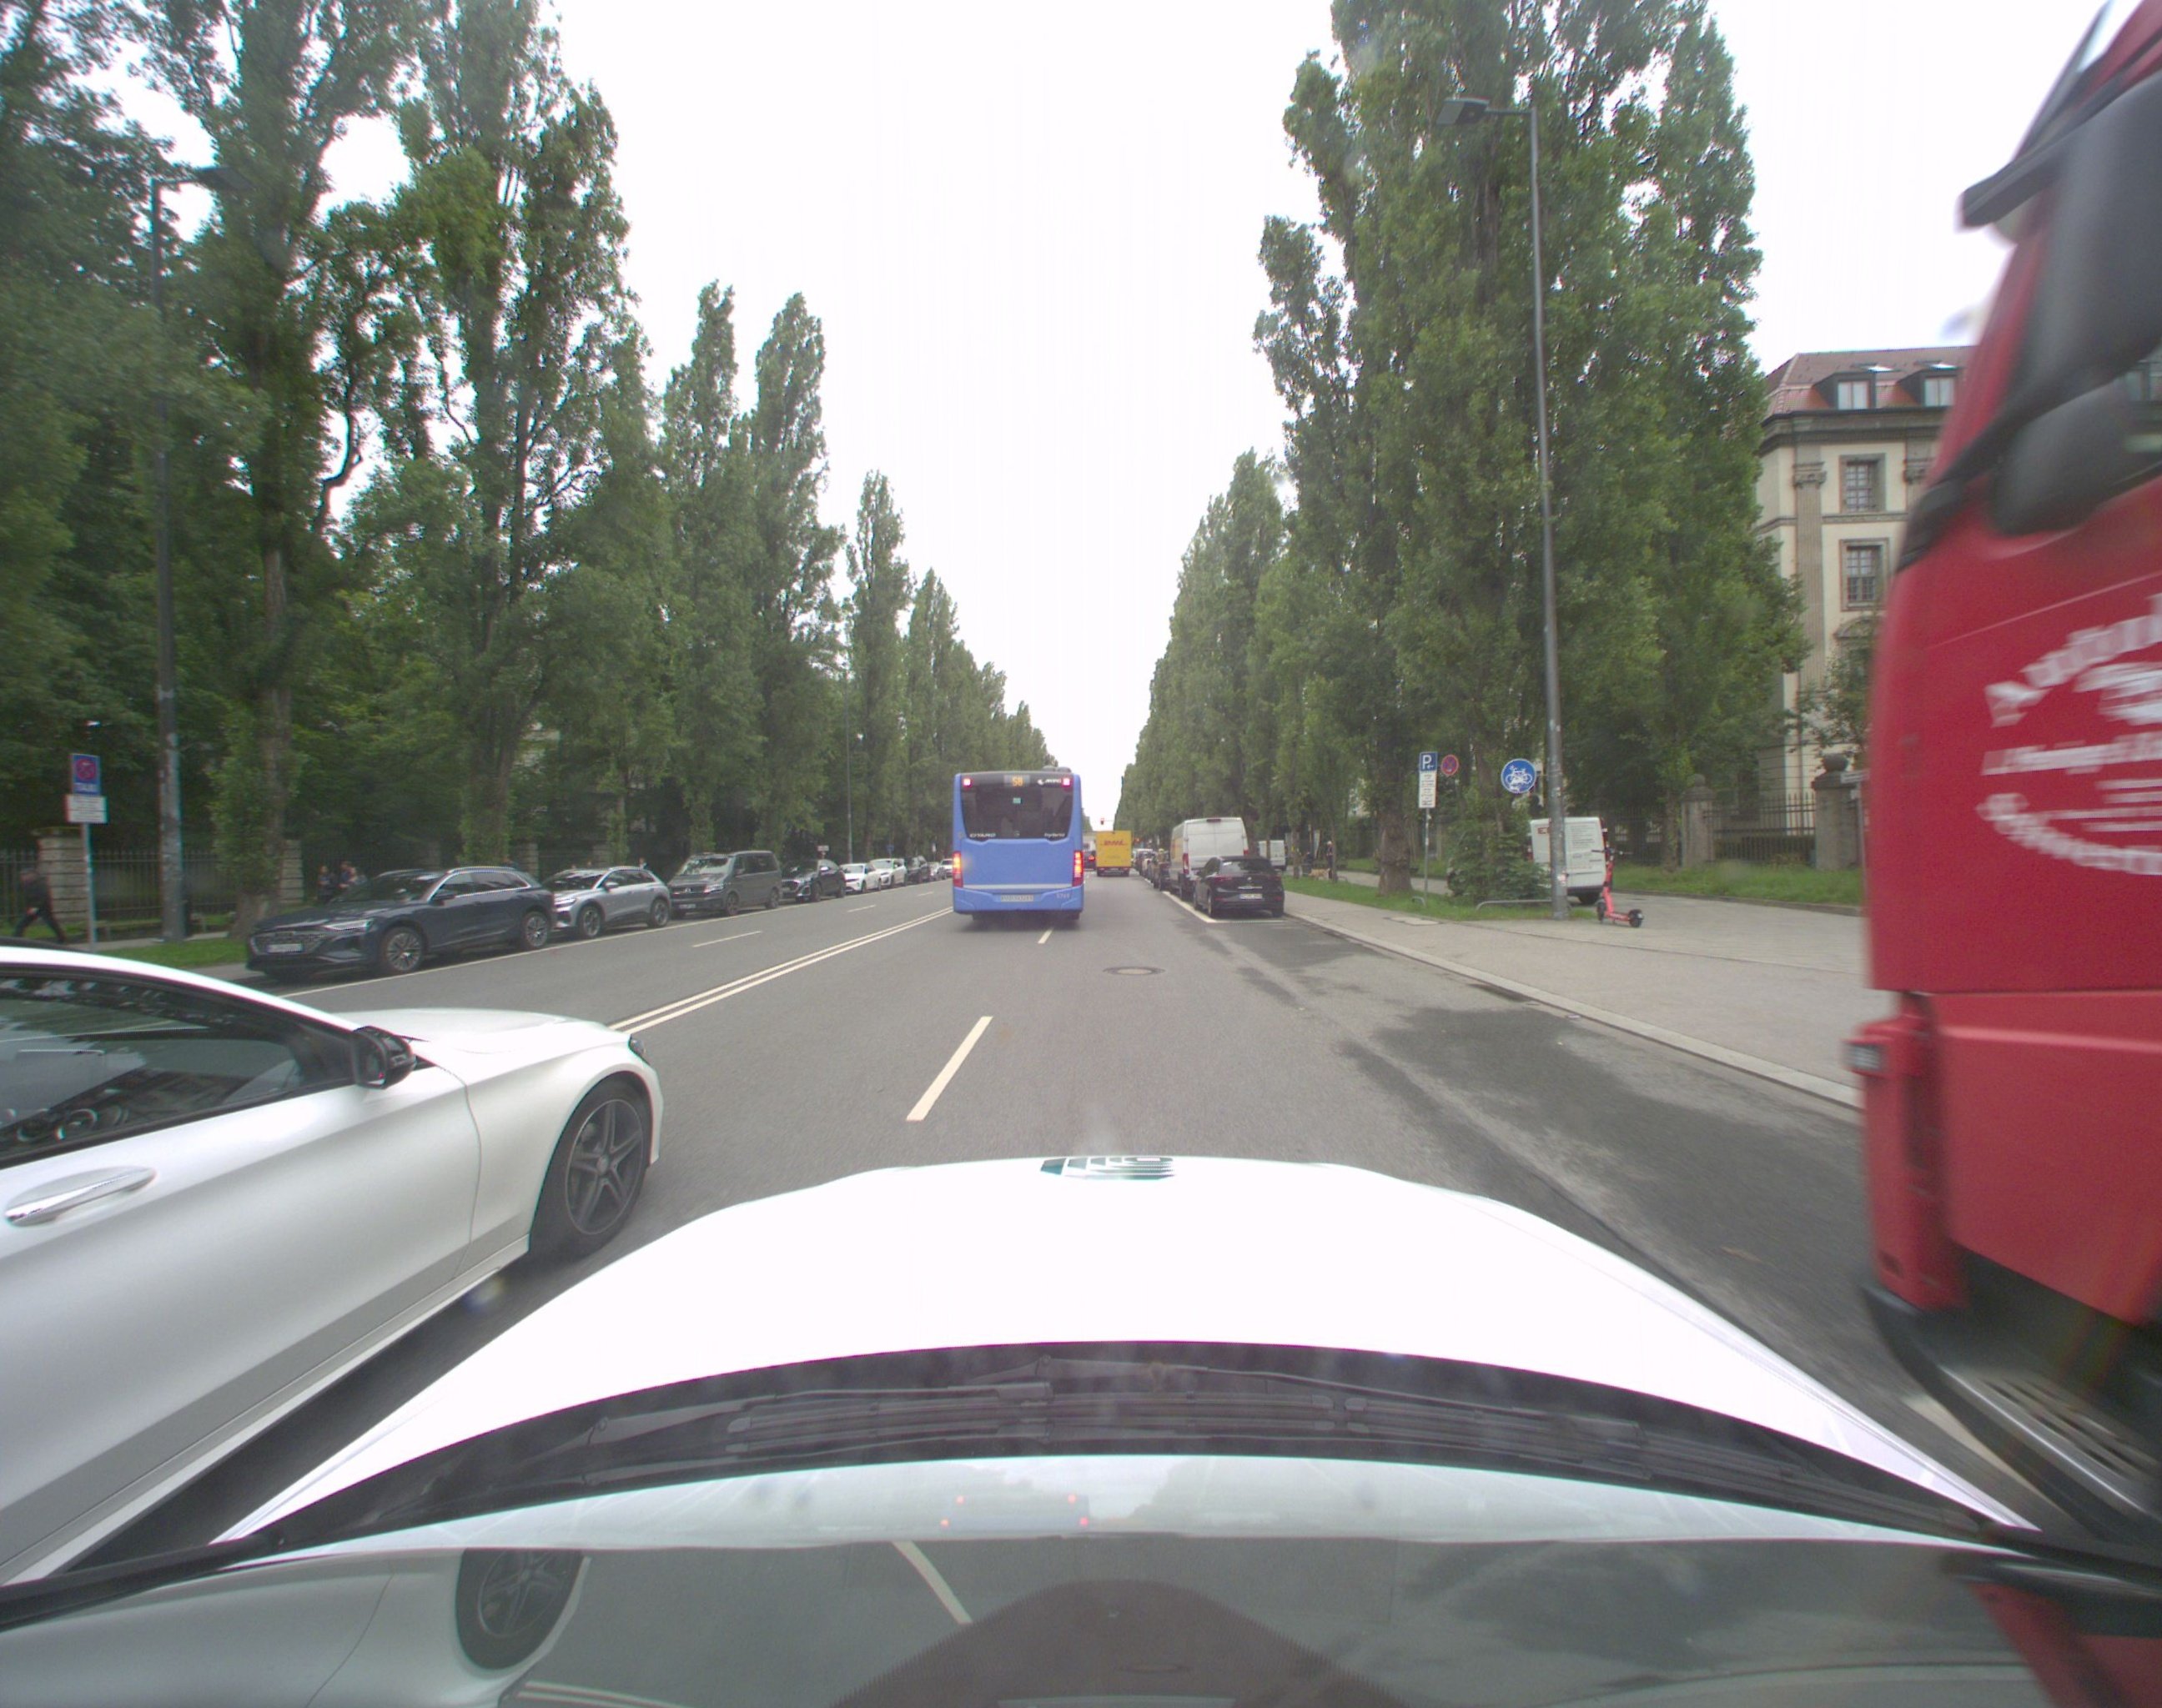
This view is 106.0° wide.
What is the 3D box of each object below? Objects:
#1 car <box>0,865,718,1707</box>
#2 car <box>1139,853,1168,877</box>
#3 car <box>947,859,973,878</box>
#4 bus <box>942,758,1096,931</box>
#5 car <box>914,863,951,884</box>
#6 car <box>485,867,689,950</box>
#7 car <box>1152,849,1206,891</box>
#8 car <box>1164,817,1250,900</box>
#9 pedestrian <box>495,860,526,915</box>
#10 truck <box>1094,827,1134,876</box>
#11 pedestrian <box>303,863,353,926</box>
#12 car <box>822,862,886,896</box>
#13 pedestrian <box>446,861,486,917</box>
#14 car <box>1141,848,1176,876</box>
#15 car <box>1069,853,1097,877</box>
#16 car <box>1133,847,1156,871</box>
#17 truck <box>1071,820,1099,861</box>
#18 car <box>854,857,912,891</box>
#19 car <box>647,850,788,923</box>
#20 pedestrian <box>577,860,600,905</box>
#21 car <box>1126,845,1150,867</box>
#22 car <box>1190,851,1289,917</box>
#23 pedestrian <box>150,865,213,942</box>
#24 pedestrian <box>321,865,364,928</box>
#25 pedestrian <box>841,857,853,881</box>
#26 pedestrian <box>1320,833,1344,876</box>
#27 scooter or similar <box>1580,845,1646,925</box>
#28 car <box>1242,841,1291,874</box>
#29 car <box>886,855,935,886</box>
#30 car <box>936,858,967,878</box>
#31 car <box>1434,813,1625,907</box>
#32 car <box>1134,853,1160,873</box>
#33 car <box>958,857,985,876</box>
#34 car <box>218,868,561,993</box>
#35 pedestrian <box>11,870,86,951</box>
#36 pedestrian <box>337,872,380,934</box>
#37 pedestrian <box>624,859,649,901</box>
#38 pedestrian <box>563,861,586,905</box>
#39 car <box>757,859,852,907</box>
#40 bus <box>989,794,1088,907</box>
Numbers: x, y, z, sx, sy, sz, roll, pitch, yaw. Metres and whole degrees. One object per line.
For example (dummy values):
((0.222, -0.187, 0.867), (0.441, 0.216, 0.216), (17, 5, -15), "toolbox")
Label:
((-2.777, 0.781, 1.726), (1.819, 1.454, 4.585), (0, 0, 2), "car")
((4.793, 0.692, 54.207), (1.718, 1.495, 4.326), (-1, 0, 2), "car")
((-10.170, 1.196, 68.732), (1.739, 1.518, 4.112), (-3, 0, -4), "car")
((-1.206, -0.183, 19.872), (2.847, 3.213, 9.056), (-1, 0, -1), "bus")
((-10.110, 1.303, 55.615), (1.574, 1.304, 4.031), (-3, 0, 2), "car")
((-11.538, 1.179, 19.489), (1.884, 1.584, 4.656), (-3, 0, 1), "car")
((3.959, 0.626, 33.485), (1.814, 1.590, 4.224), (-1, 0, 1), "car")
((4.091, 0.122, 27.505), (2.067, 2.479, 6.286), (0, 0, 1), "car")
((-19.610, 1.142, 27.994), (0.506, 1.859, 0.723), (-1, 0, 2), "pedestrian")
((2.087, -0.137, 53.172), (2.319, 2.898, 7.334), (-1, 0, 1), "truck")
((-21.109, 1.120, 22.838), (0.664, 1.722, 0.734), (-1, 0, 3), "pedestrian")
((-10.766, 1.160, 38.871), (1.670, 1.422, 4.238), (-3, 0, 1), "car")
((-21.003, 1.191, 27.820), (0.744, 1.854, 0.758), (-1, 0, 2), "pedestrian")
((4.560, 0.480, 48.545), (1.774, 1.581, 4.148), (1, 0, 1), "car")
((0.206, 0.875, 67.512), (2.028, 1.801, 4.509), (-2, 0, 2), "car")
((5.470, 0.448, 70.840), (1.799, 1.976, 4.239), (-1, 0, 2), "car")
((0.372, -1.300, 84.853), (2.707, 3.965, 9.215), (-2, 0, 0), "truck")
((-10.620, 1.019, 44.011), (1.778, 1.588, 4.464), (-4, 0, 2), "car")
((-11.190, 0.916, 25.560), (1.986, 1.956, 4.939), (-3, 0, 1), "car")
((-19.176, 1.103, 31.716), (0.506, 1.707, 0.570), (-1, 0, 2), "pedestrian")
((5.476, 0.206, 79.092), (2.044, 2.013, 5.695), (-2, 0, 2), "car")
((3.806, 0.664, 20.147), (1.748, 1.450, 4.001), (1, 0, 1), "car")
((-20.245, 1.099, 18.336), (0.616, 1.660, 0.705), (-1, 0, 2), "pedestrian")
((-20.519, 1.166, 22.626), (0.506, 1.707, 0.723), (-1, 0, 2), "pedestrian")
((-18.071, 1.148, 62.910), (0.637, 1.815, 0.776), (-1, 0, 1), "pedestrian")
((10.825, 0.013, 35.081), (0.654, 1.839, 0.782), (-1, 0, -12), "pedestrian")
((8.751, 0.488, 13.431), (0.335, 1.265, 1.186), (-2, 0, 2), "scooter or similar")
((11.666, 0.220, 51.558), (1.986, 1.925, 5.325), (-1, 0, 1), "car")
((-10.383, 0.982, 49.912), (1.874, 1.658, 4.718), (-4, 0, 0), "car")
((-10.182, 1.063, 64.072), (1.679, 1.413, 4.005), (-3, 0, 1), "car")
((10.596, 0.132, 19.779), (1.986, 1.946, 5.086), (-1, 0, 2), "car")
((5.250, 0.718, 65.324), (1.855, 1.552, 4.002), (-1, 0, 2), "car")
((-9.849, 1.130, 73.593), (1.808, 1.643, 4.001), (-1, 0, 1), "car")
((-11.395, 1.131, 13.989), (1.775, 1.596, 4.615), (-3, 0, 1), "car")
((-21.189, 1.145, 16.726), (0.616, 1.596, 0.705), (-1, 0, 3), "pedestrian")
((-19.983, 1.343, 22.537), (0.547, 1.669, 0.673), (-1, 0, 2), "pedestrian")
((-19.065, 1.107, 34.946), (0.606, 1.757, 0.757), (-2, 0, 0), "pedestrian")
((-19.759, 1.115, 31.750), (0.506, 1.707, 0.570), (-1, 0, 2), "pedestrian")
((-10.755, 1.076, 32.152), (1.808, 1.609, 5.054), (-4, 0, 1), "car")
((-1.271, -0.115, 29.172), (2.863, 3.304, 9.787), (-1, 0, 0), "bus")
